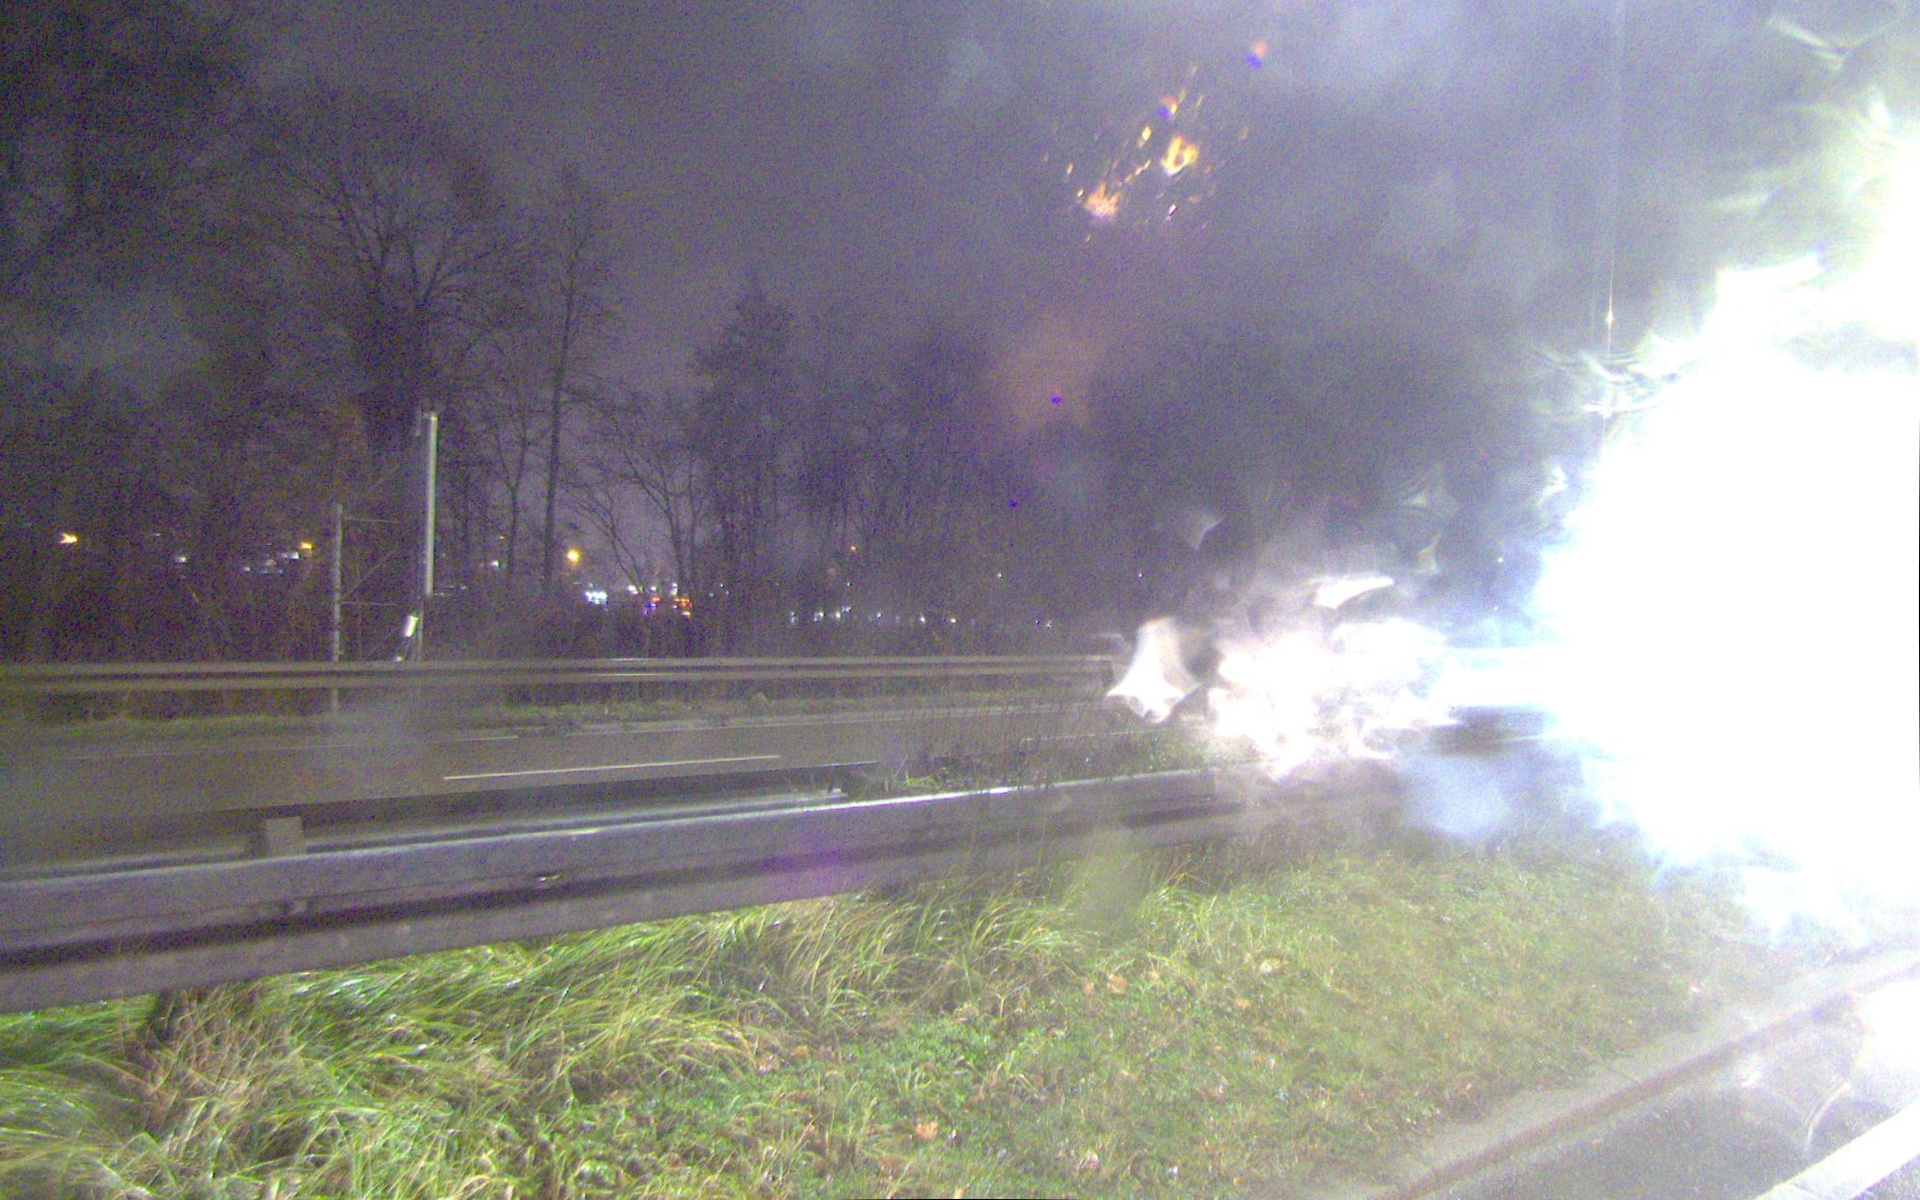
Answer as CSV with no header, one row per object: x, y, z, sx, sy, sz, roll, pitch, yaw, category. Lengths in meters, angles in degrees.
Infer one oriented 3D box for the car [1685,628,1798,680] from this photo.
23.627,1.586,30.300,4.627,1.442,1.698,2,-2,-39,car

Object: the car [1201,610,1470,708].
6.711,1.044,17.824,4.787,1.527,1.983,2,-5,-33,car

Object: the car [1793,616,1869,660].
35.195,1.536,40.572,4.218,1.629,1.852,2,-1,-43,car

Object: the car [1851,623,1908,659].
45.309,1.992,49.478,4.219,1.653,1.749,1,0,-43,car

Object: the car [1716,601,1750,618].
70.909,0.903,92.207,1.714,1.522,3.995,2,0,27,car

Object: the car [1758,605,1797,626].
63.449,1.227,78.019,1.773,1.502,3.808,2,0,31,car
